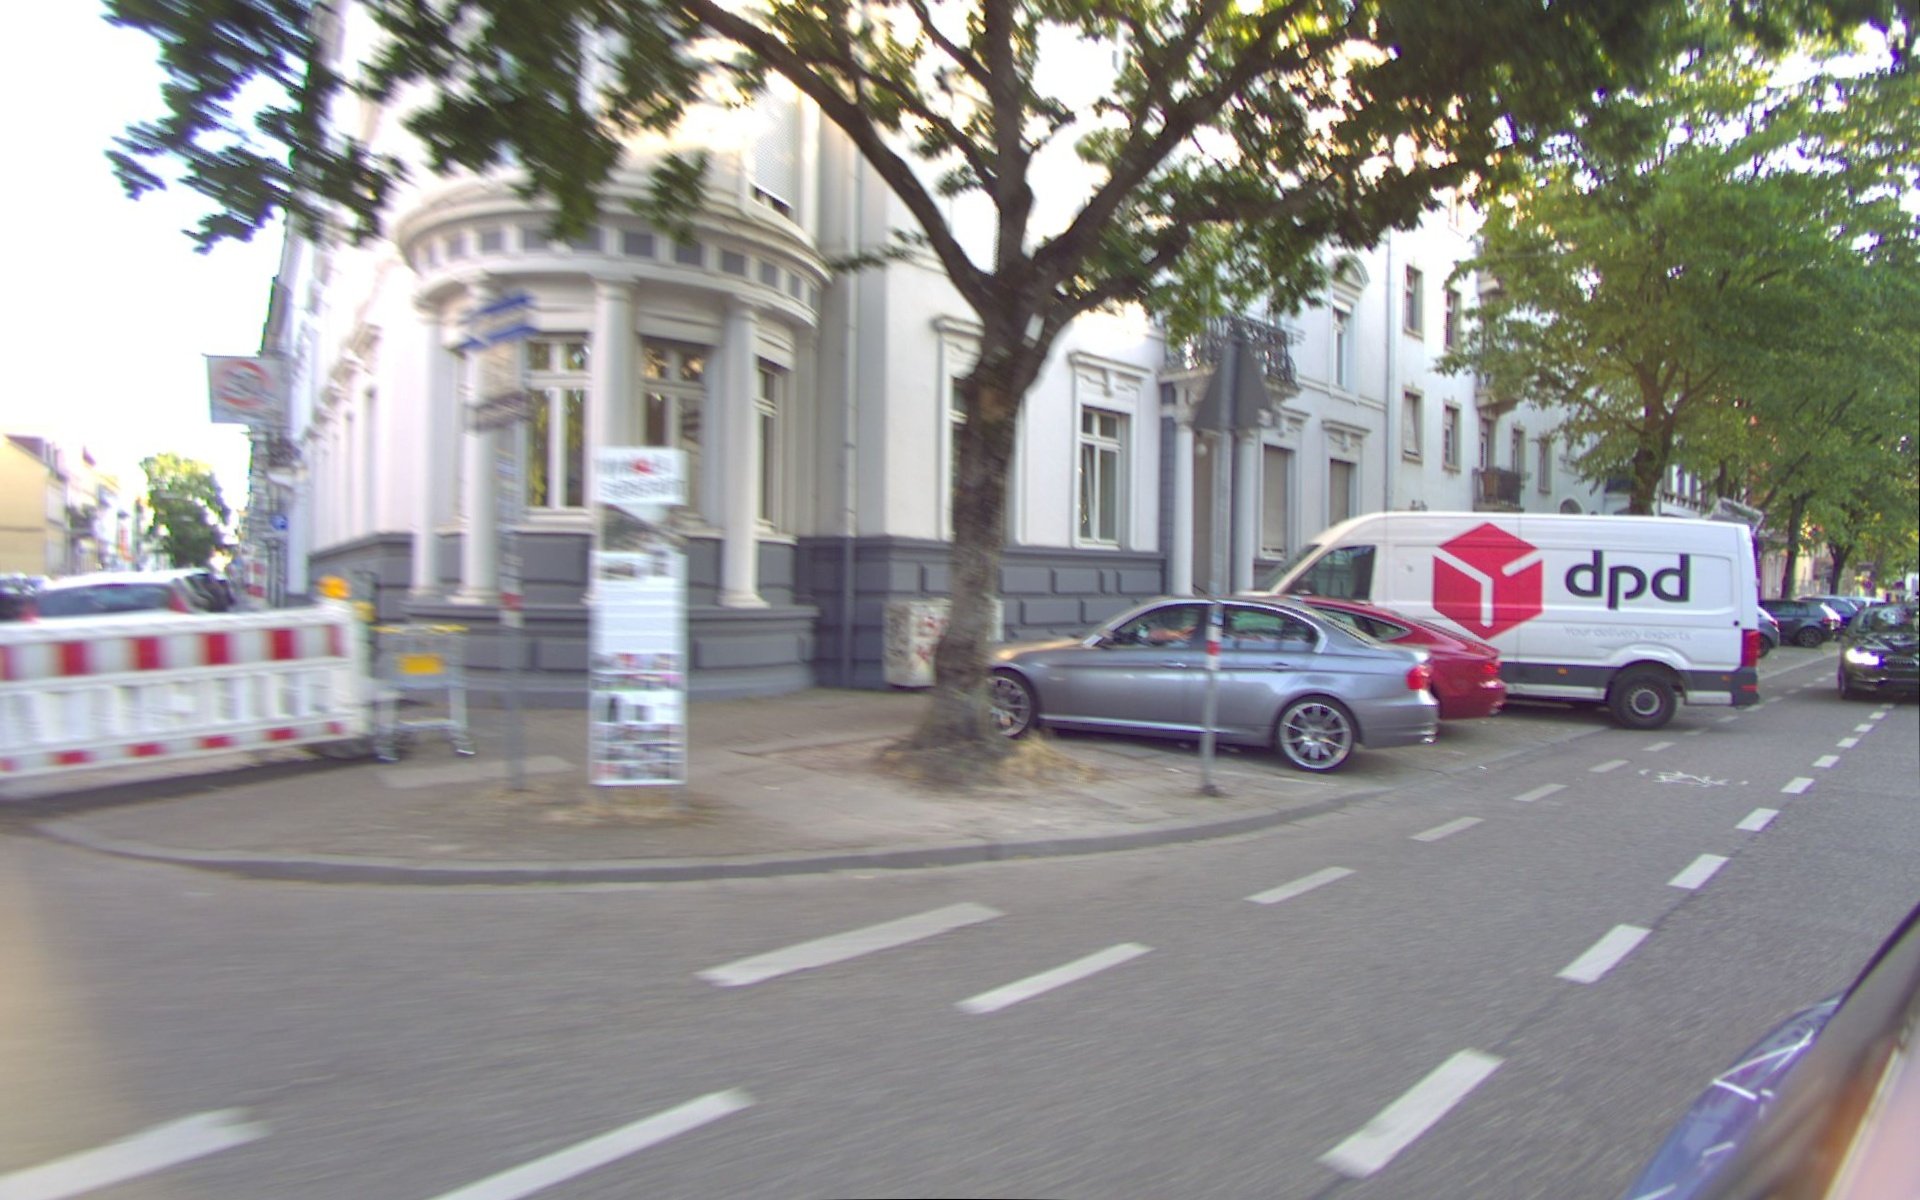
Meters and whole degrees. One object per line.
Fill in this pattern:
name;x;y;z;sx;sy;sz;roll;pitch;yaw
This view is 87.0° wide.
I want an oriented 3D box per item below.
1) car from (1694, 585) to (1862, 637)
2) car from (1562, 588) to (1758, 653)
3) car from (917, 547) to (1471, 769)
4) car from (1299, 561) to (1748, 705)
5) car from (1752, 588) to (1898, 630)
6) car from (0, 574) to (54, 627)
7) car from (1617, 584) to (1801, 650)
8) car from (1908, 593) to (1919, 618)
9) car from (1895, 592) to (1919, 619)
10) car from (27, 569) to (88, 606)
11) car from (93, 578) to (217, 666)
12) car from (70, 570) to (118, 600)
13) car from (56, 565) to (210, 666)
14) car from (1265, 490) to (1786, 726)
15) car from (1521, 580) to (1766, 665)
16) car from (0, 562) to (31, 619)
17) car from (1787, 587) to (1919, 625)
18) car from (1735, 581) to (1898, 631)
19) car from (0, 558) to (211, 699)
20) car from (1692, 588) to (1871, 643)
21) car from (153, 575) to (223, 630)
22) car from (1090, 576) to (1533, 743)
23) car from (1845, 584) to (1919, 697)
car;27.718;0.341;34.469;4.178;1.521;1.724;3;2;31
car;16.654;0.455;24.239;3.520;1.427;1.515;1;1;13
car;2.069;0.398;9.447;4.553;1.532;1.850;3;1;21
car;8.244;0.409;15.481;5.555;1.919;2.163;1;1;13
car;35.329;0.326;41.471;4.156;1.630;1.733;1;0;19
car;-34.727;-0.016;37.142;1.819;1.828;3.897;0;1;-37
car;19.202;0.402;26.100;3.528;1.565;1.376;1;1;19
car;64.869;0.358;67.571;3.752;1.630;1.742;0;1;-39
car;61.042;0.339;64.391;3.752;1.630;1.742;0;1;-39
car;-43.010;-0.593;48.309;1.819;1.681;3.813;0;1;-37
car;-16.325;0.369;20.669;1.819;1.597;3.897;0;1;-37
car;-49.479;-0.855;57.897;1.819;1.681;3.813;0;1;-37
car;-13.871;0.194;17.171;1.819;1.511;3.897;0;1;-37
car;7.032;0.036;13.366;5.555;2.728;2.163;1;0;13
car;14.691;0.435;22.026;4.070;1.661;1.731;1;1;21
car;-31.436;-0.340;32.577;1.819;1.786;3.897;0;1;-37
car;41.135;0.249;46.729;4.156;1.630;1.733;1;0;19
car;31.356;0.174;37.184;4.157;1.629;1.693;2;1;19
car;-10.730;0.266;12.953;1.819;1.510;3.897;0;1;-37
car;26.210;0.451;32.484;4.178;1.521;1.724;3;2;31
car;-26.651;0.035;34.992;1.819;1.786;3.897;0;1;-37
car;3.842;0.548;11.584;4.351;1.462;1.976;3;2;19
car;15.673;0.592;16.185;4.098;1.662;1.836;0;-3;-43
